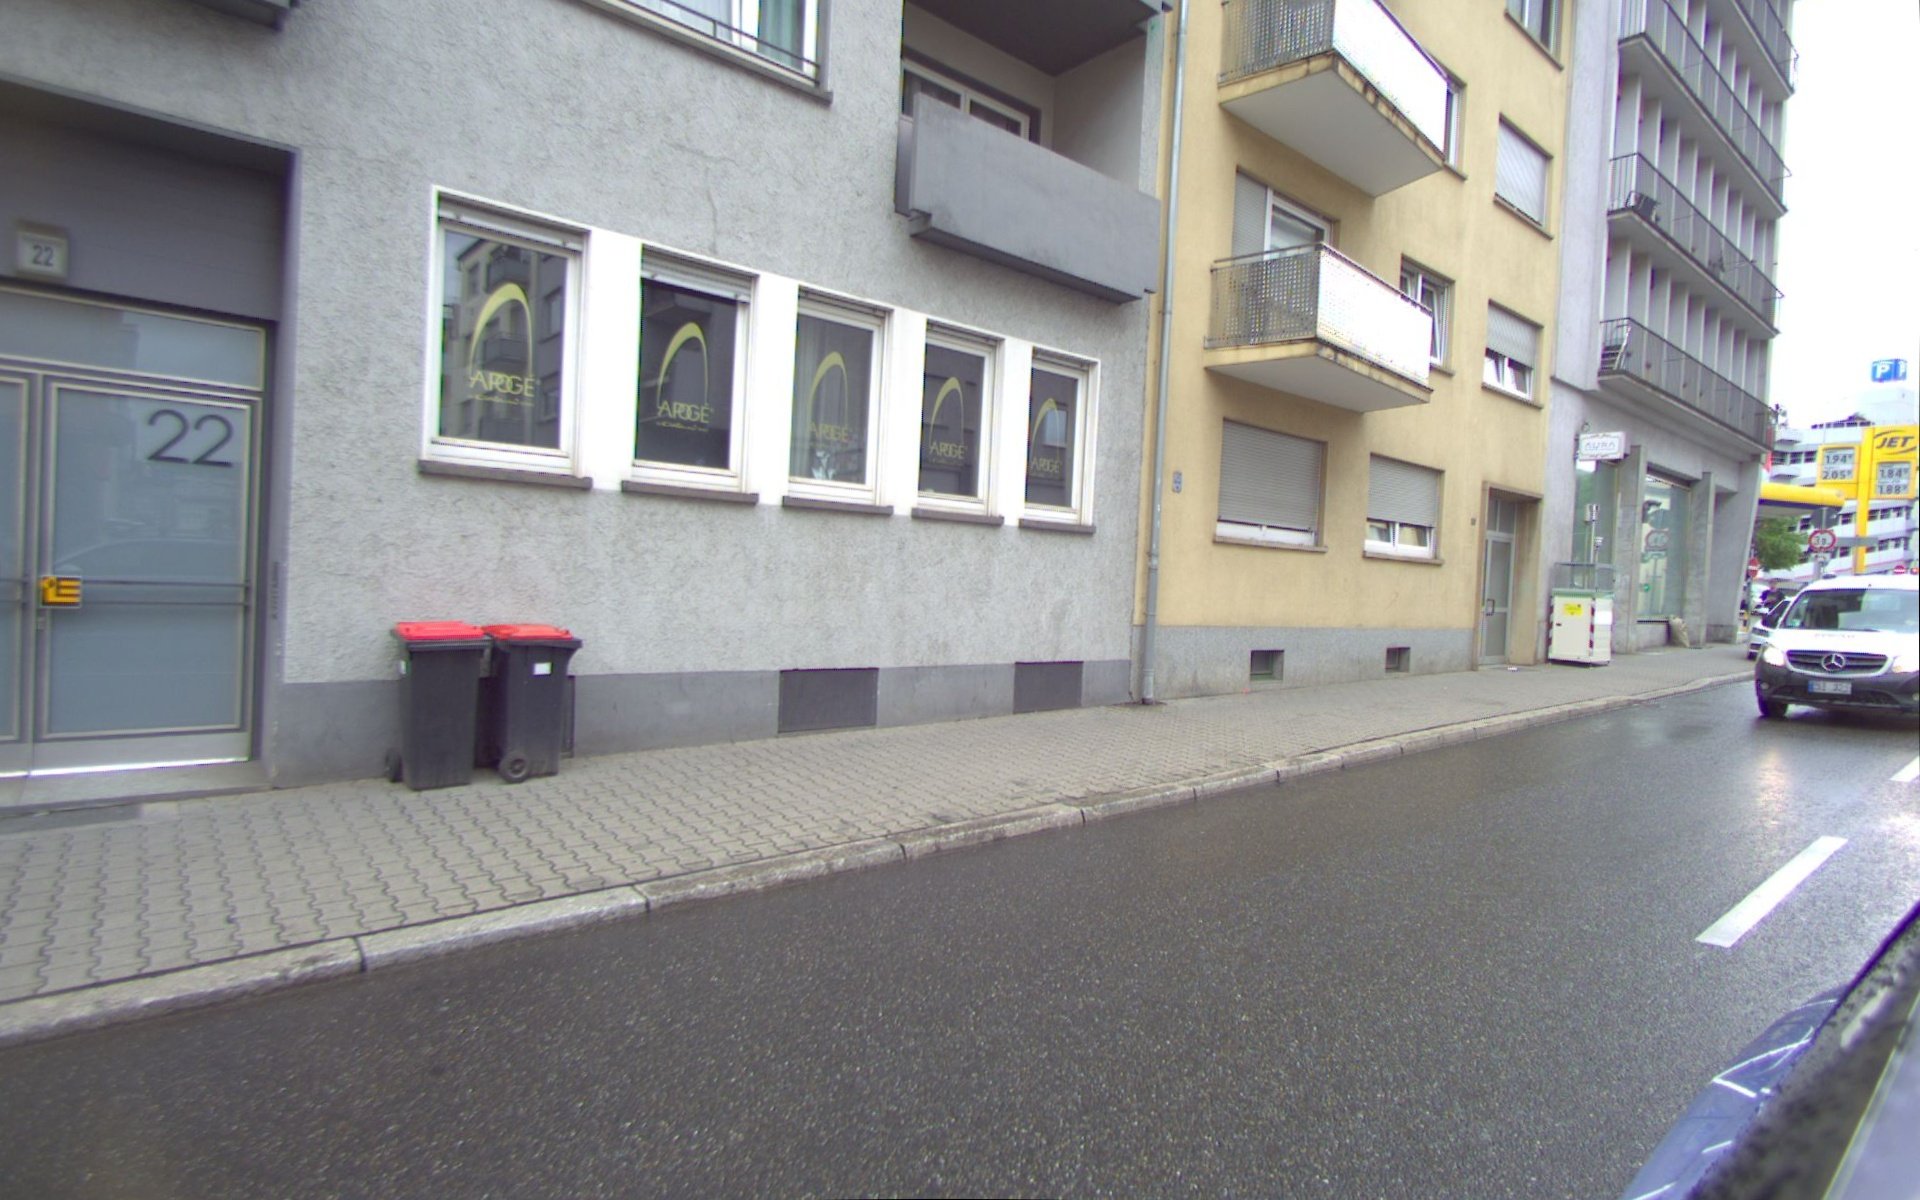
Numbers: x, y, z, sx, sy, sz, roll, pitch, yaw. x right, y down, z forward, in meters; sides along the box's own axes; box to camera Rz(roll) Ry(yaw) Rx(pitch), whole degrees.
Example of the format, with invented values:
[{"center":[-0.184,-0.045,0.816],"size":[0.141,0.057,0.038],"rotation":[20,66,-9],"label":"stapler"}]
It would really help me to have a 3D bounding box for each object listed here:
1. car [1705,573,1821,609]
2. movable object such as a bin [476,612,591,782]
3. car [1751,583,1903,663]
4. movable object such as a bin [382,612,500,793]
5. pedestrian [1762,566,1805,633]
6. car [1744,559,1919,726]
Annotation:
[{"center":[34.856,-0.394,44.071],"size":[1.737,1.493,4.002],"rotation":[0,0,-3],"label":"car"},{"center":[-2.691,0.582,6.377],"size":[0.506,0.961,0.541],"rotation":[0,4,-40],"label":"movable object such as a bin"},{"center":[18.524,0.429,21.563],"size":[4.093,1.453,1.803],"rotation":[0,4,-41],"label":"car"},{"center":[-3.105,0.582,6.050],"size":[0.506,0.967,0.541],"rotation":[0,4,-40],"label":"movable object such as a bin"},{"center":[22.299,-0.024,27.402],"size":[0.872,1.777,0.679],"rotation":[0,2,-39],"label":"pedestrian"},{"center":[11.817,0.445,12.833],"size":[4.660,1.797,1.945],"rotation":[0,1,-39],"label":"car"}]
